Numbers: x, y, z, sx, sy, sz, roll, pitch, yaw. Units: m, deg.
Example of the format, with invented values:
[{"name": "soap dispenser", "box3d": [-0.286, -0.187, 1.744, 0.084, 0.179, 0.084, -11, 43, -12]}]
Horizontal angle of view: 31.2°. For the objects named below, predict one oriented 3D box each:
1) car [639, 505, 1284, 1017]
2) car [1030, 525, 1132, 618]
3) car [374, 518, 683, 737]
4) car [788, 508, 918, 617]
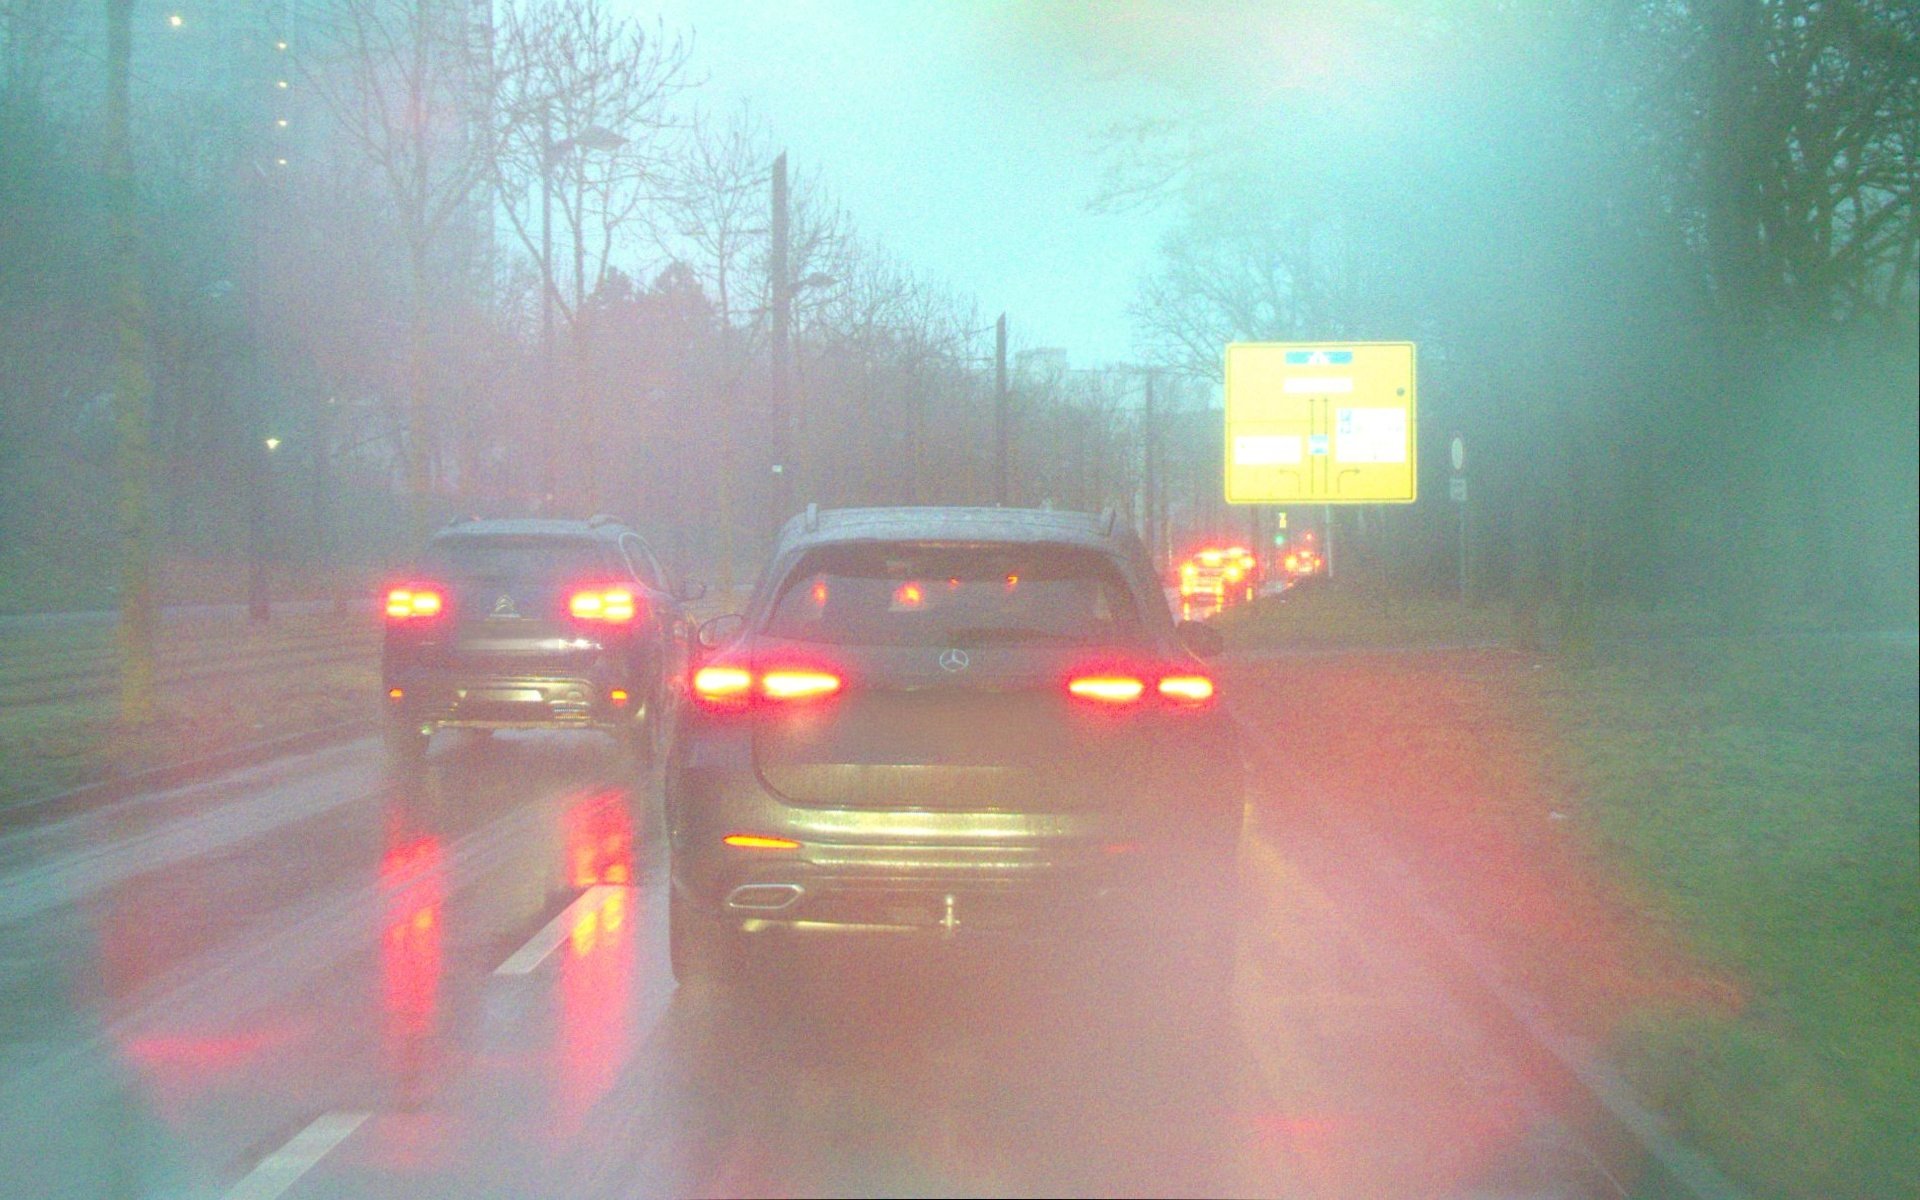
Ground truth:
[{"name": "car", "box3d": [-0.051, 0.460, 12.762, 1.998, 1.578, 4.001, 1, 1, -2]}, {"name": "car", "box3d": [2.132, -0.506, 59.888, 1.709, 1.552, 3.996, 0, 1, 3]}, {"name": "car", "box3d": [-3.026, 0.133, 24.838, 1.880, 1.454, 4.001, 0, 1, -2]}, {"name": "car", "box3d": [-1.579, -0.590, 52.059, 1.880, 1.588, 4.000, 0, 1, -1]}]
